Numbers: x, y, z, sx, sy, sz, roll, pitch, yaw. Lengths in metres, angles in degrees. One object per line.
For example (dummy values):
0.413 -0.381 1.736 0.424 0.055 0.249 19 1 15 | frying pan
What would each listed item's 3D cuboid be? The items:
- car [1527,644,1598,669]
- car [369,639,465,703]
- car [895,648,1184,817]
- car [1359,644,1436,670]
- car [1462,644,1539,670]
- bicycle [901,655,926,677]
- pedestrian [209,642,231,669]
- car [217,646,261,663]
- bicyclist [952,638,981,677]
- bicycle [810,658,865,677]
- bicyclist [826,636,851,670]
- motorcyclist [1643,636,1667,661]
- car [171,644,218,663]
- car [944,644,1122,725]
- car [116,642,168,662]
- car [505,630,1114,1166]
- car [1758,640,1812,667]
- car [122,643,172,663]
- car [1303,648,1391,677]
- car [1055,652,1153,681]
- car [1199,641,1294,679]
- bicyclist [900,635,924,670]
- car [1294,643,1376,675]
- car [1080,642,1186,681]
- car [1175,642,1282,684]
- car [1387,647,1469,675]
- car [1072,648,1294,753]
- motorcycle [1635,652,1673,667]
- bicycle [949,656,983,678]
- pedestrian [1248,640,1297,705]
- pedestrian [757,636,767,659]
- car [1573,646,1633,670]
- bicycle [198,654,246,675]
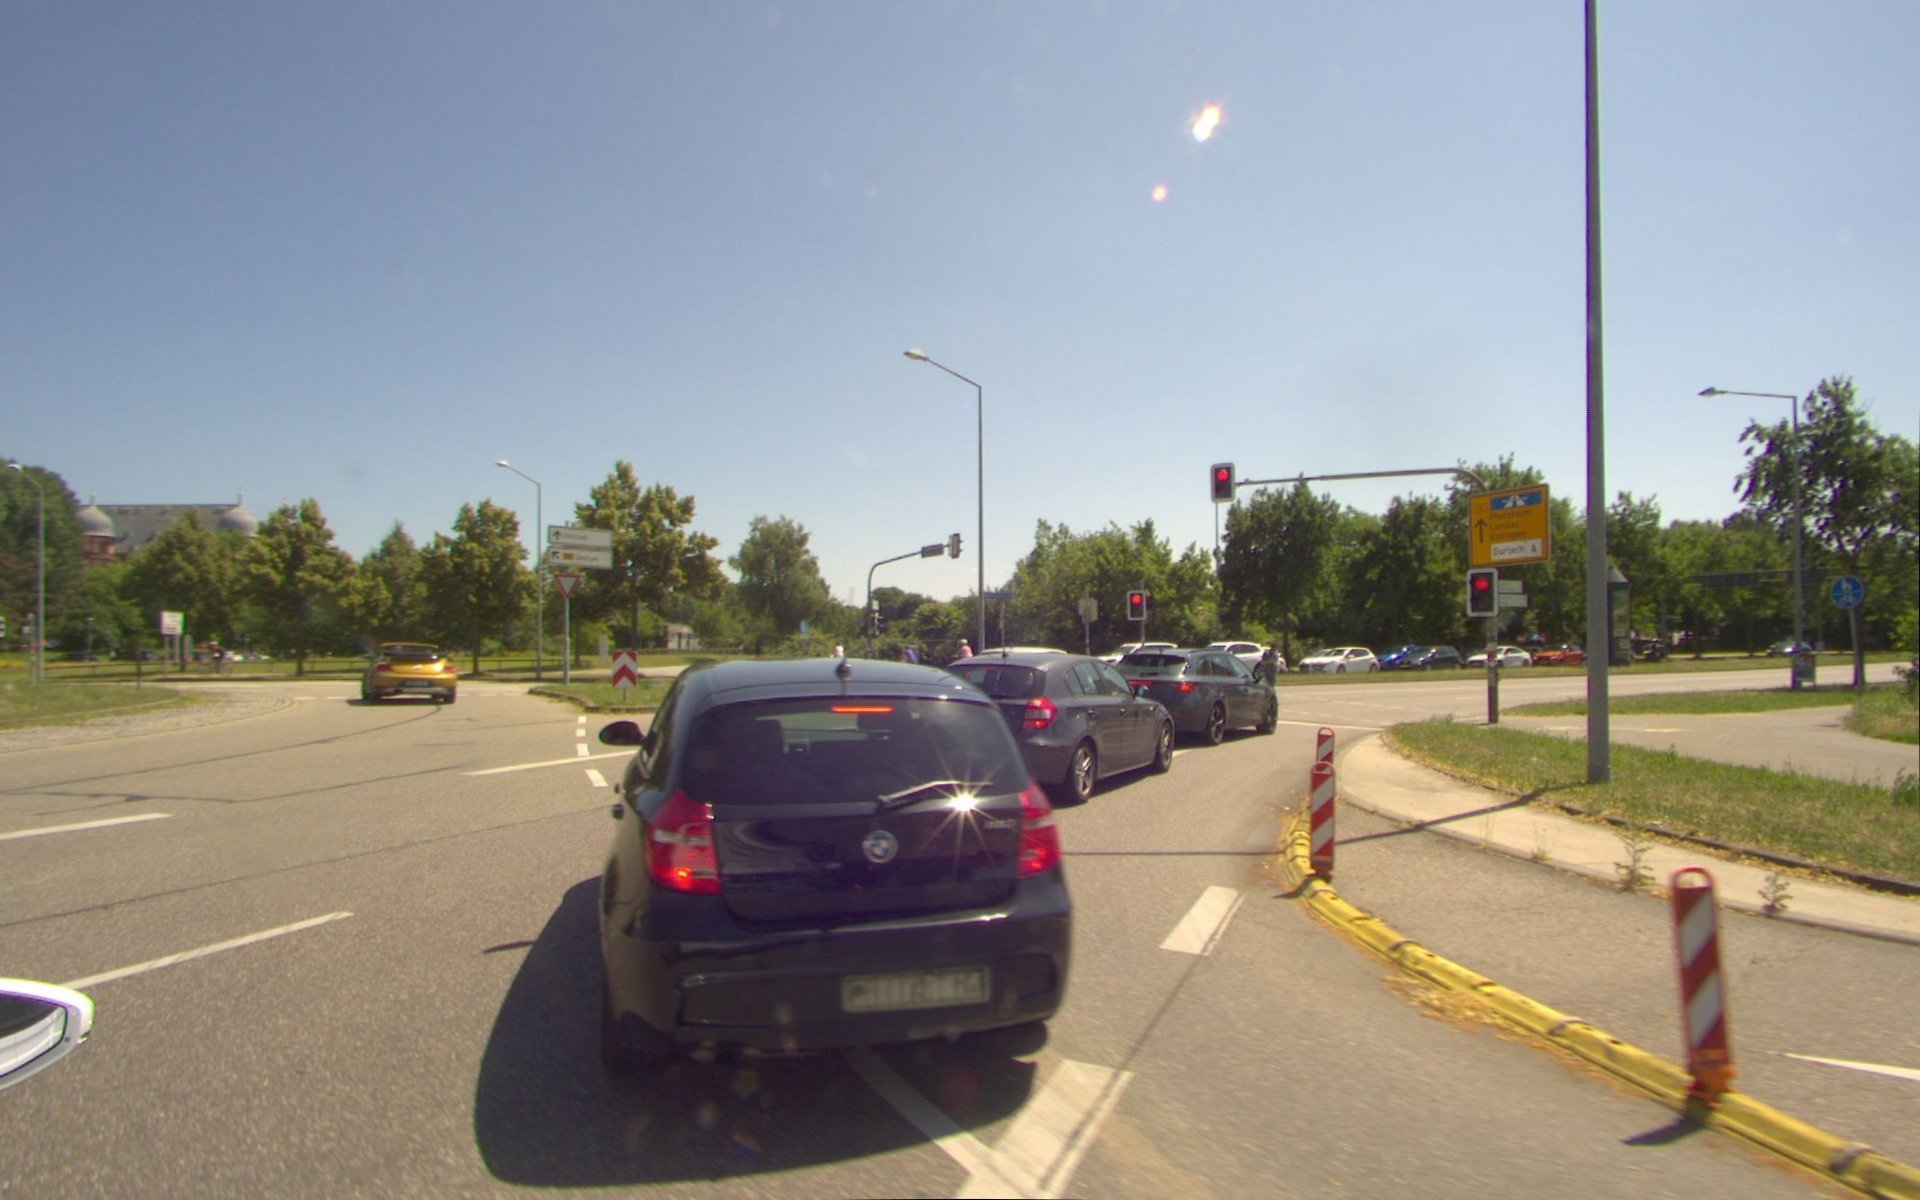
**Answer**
36.799 3.439 61.175 4.345 1.440 1.856 2 -3 -30 | car
-13.344 1.716 24.510 1.807 1.420 3.642 2 -4 -32 | car
1.076 1.264 10.970 1.726 1.421 4.067 0 -2 27 | car
25.327 3.265 57.931 4.345 1.440 1.856 2 -3 -30 | car
31.096 3.239 57.591 4.345 1.440 1.856 2 -3 -30 | car
-2.140 3.008 45.506 0.882 0.912 1.761 2 -1 -10 | bicycle
-41.311 3.091 55.937 0.805 1.468 0.708 1 -3 -23 | pedestrian
-85.524 6.478 118.854 3.938 2.038 1.994 2 -4 -26 | car
0.276 2.490 43.261 0.943 1.629 1.185 1 -3 -16 | bicyclist
-6.021 3.307 49.065 2.888 0.923 0.738 -3 -4 32 | bicycle
-5.950 2.623 49.061 0.964 1.633 0.753 -2 -4 31 | bicyclist
46.075 3.210 66.388 0.995 1.605 0.905 2 -4 -28 | motorcyclist
-86.094 6.035 112.649 3.947 2.038 1.989 2 -4 -33 | car
1.551 1.596 19.985 1.759 1.440 3.977 -1 -3 35 | car
-85.134 5.434 104.308 3.947 2.038 1.989 2 -4 -33 | car
-0.866 0.915 4.907 1.770 1.458 3.996 1 -2 -14 | car
63.453 4.136 77.035 3.945 2.038 1.991 2 -4 -31 | car
-88.152 5.749 108.589 3.947 2.038 1.989 2 -4 -33 | car
19.682 3.143 50.872 4.345 1.440 1.856 2 -3 -30 | car
6.728 3.080 46.707 4.345 1.286 1.856 2 -3 -30 | car
13.661 2.826 47.676 4.345 1.704 1.856 2 -2 -30 | car
-2.174 2.375 45.512 0.942 1.551 1.185 0 -1 -11 | bicyclist
20.542 3.196 54.787 4.345 1.704 1.856 2 -2 -30 | car
7.488 2.628 43.312 4.345 1.638 1.856 2 -3 -30 | car
11.439 2.634 42.582 4.345 1.704 1.856 2 -2 -30 | car
25.306 3.273 54.115 4.345 1.440 1.856 2 -3 -30 | car
3.780 1.517 16.381 1.974 1.436 4.428 -1 -3 36 | car
45.952 3.924 66.282 2.774 0.963 0.895 2 -4 -28 | motorcycle
0.256 2.911 43.344 0.882 0.911 2.224 2 -4 -16 | bicycle
8.175 1.887 26.221 0.746 1.657 0.952 2 -4 -29 | pedestrian
-15.253 3.695 77.175 0.563 1.752 0.675 0 -3 1 | pedestrian
41.008 3.711 63.841 3.745 1.492 1.713 2 -4 -31 | car
-41.221 3.618 55.941 2.025 1.128 0.728 1 -4 -23 | bicycle
